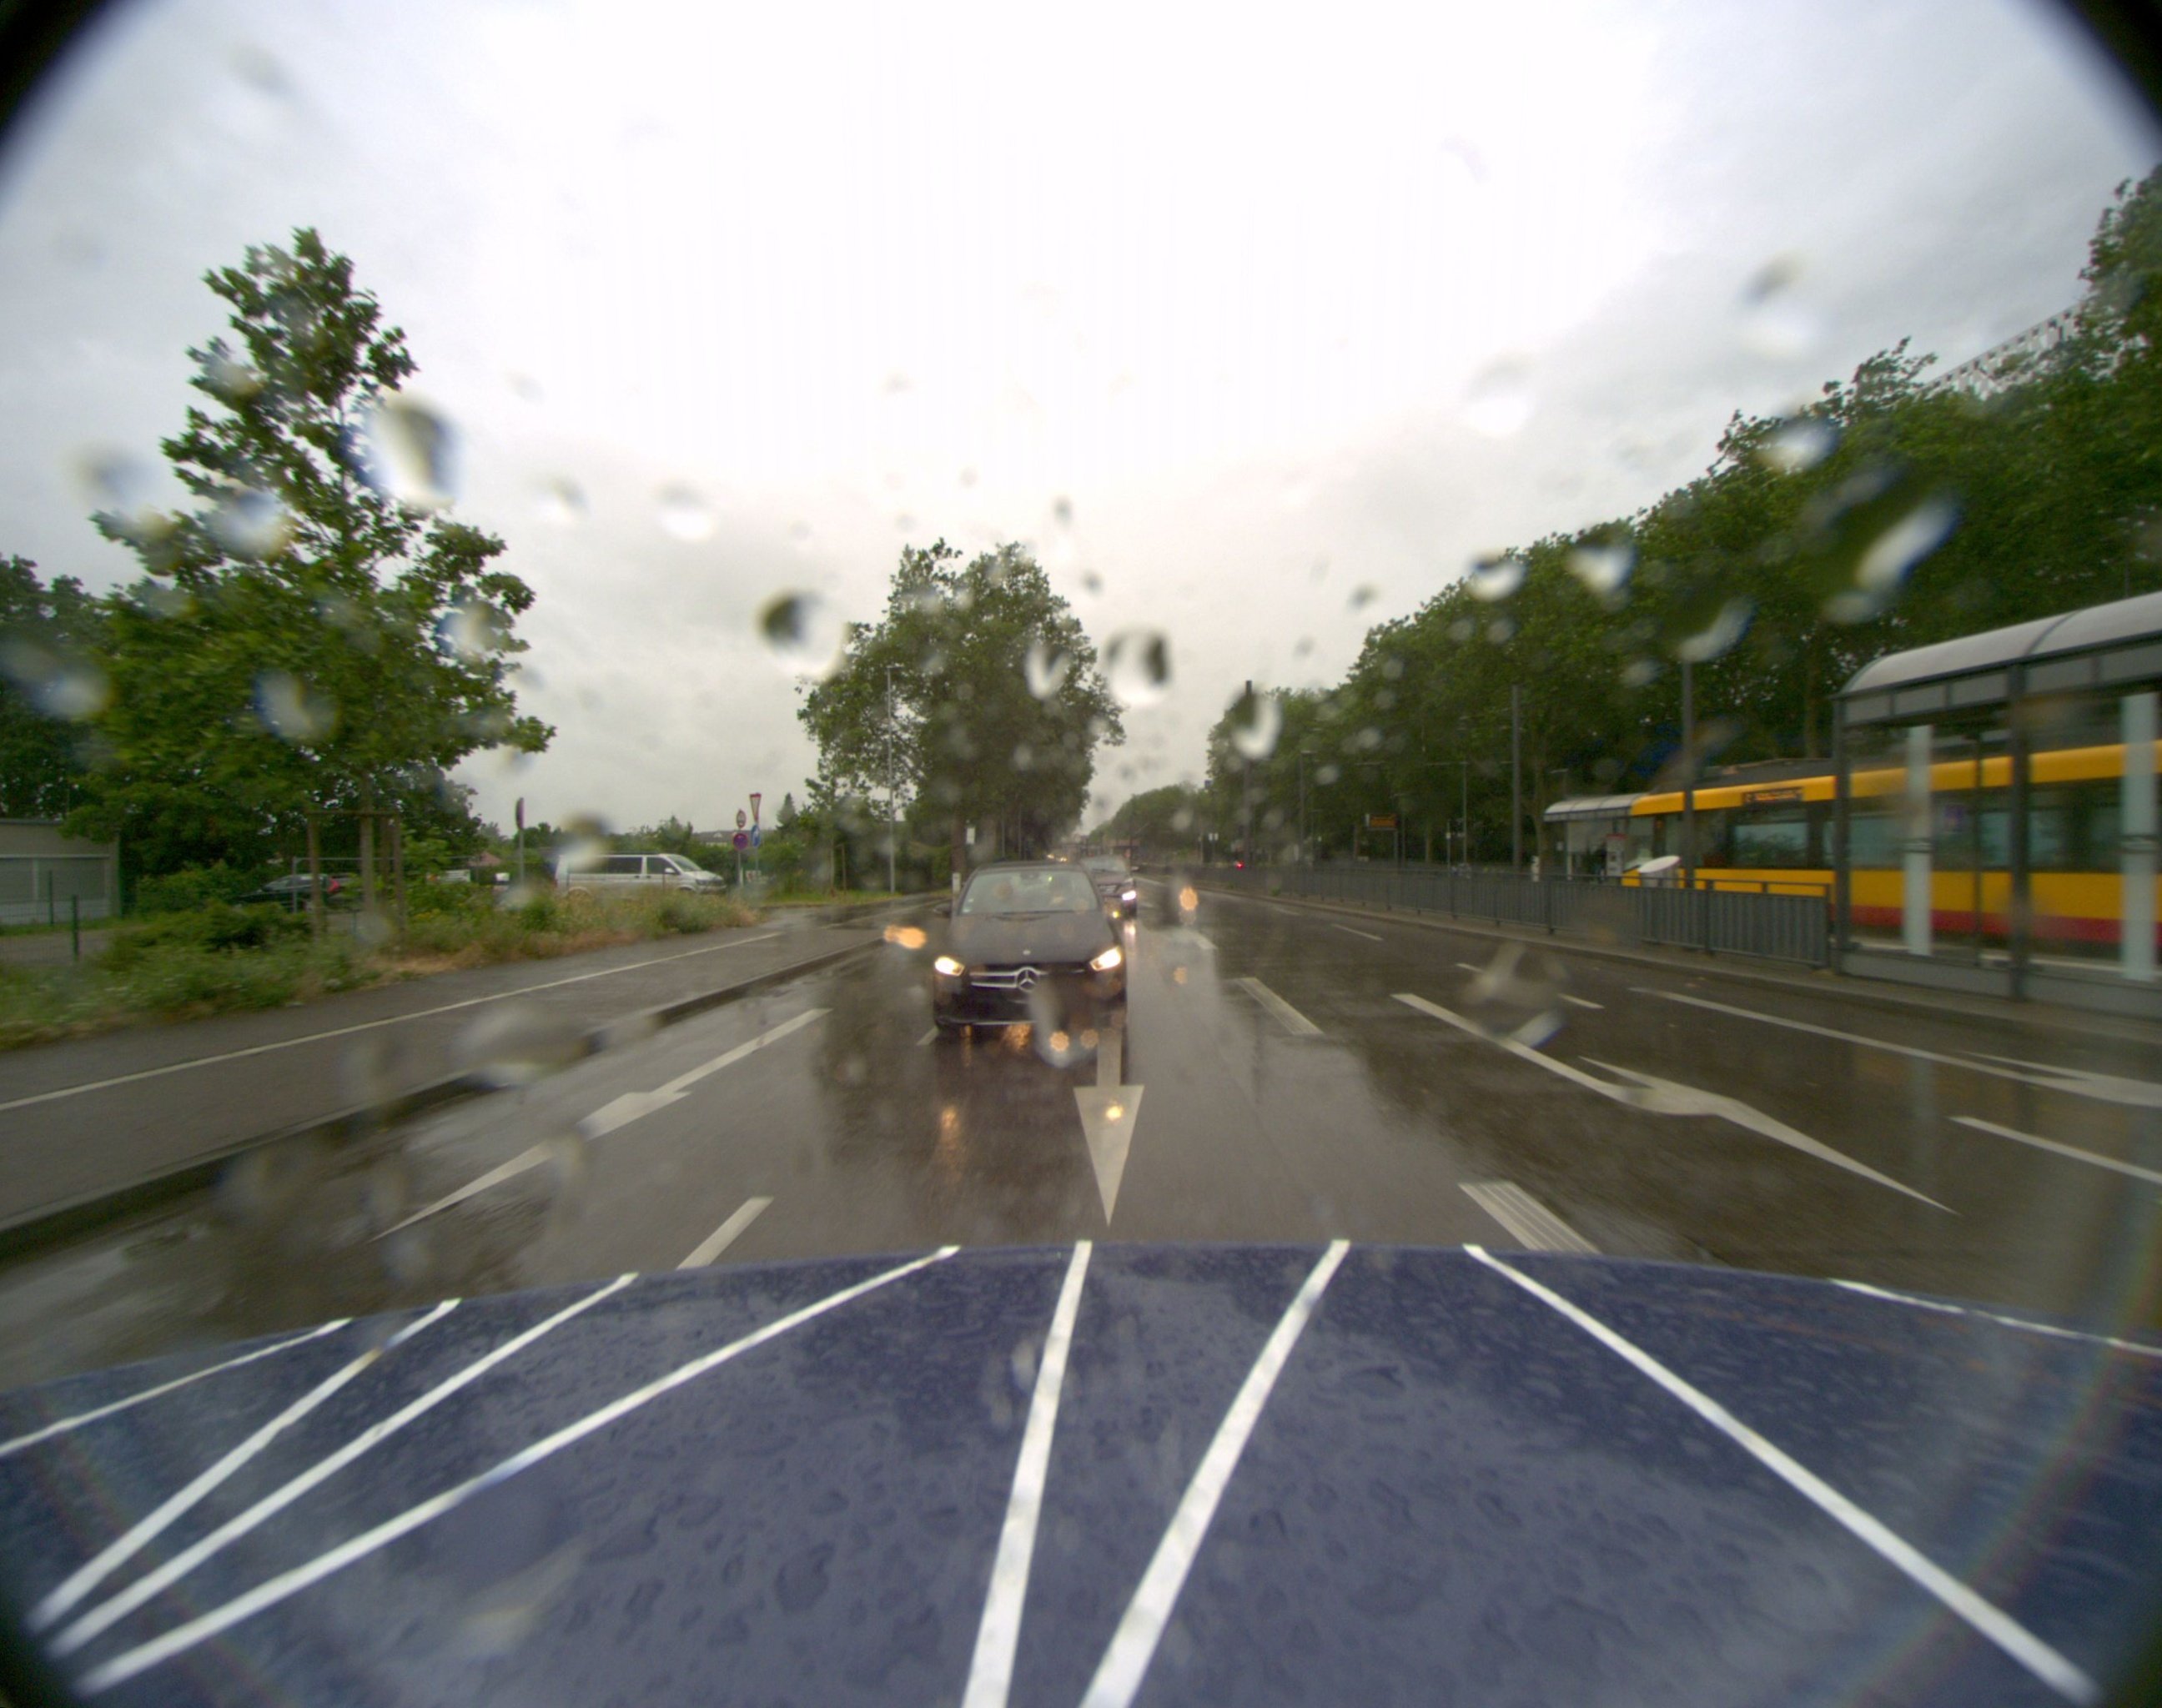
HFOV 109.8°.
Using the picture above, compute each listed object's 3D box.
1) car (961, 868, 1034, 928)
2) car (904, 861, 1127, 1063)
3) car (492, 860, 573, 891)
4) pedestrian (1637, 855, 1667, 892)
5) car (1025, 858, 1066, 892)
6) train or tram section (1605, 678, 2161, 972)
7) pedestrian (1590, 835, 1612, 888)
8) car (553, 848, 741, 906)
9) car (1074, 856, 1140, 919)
[{"bbox_3d":[-2.141,1.098,20.348,1.601,1.358,3.630,0,1,-1],"label":"car"},{"bbox_3d":[-0.515,0.899,8.261,1.758,1.572,4.169,-2,0,0],"label":"car"},{"bbox_3d":[-30.529,1.190,42.347,3.552,1.575,1.345,-2,1,3],"label":"car"},{"bbox_3d":[18.883,0.630,25.133,0.520,1.193,0.580,-2,2,-10],"label":"pedestrian"},{"bbox_3d":[-1.742,0.995,38.064,1.707,1.499,3.879,-2,1,1],"label":"car"},{"bbox_3d":[15.681,-0.462,11.771,3.751,3.777,15.566,-2,1,-3],"label":"train or tram section"},{"bbox_3d":[18.746,0.256,27.396,0.481,1.872,0.462,-2,2,-10],"label":"pedestrian"},{"bbox_3d":[-14.808,0.738,26.187,5.175,1.715,2.006,-2,1,-3],"label":"car"},{"bbox_3d":[0.649,0.869,21.688,1.689,1.611,3.999,0,0,-1],"label":"car"}]
